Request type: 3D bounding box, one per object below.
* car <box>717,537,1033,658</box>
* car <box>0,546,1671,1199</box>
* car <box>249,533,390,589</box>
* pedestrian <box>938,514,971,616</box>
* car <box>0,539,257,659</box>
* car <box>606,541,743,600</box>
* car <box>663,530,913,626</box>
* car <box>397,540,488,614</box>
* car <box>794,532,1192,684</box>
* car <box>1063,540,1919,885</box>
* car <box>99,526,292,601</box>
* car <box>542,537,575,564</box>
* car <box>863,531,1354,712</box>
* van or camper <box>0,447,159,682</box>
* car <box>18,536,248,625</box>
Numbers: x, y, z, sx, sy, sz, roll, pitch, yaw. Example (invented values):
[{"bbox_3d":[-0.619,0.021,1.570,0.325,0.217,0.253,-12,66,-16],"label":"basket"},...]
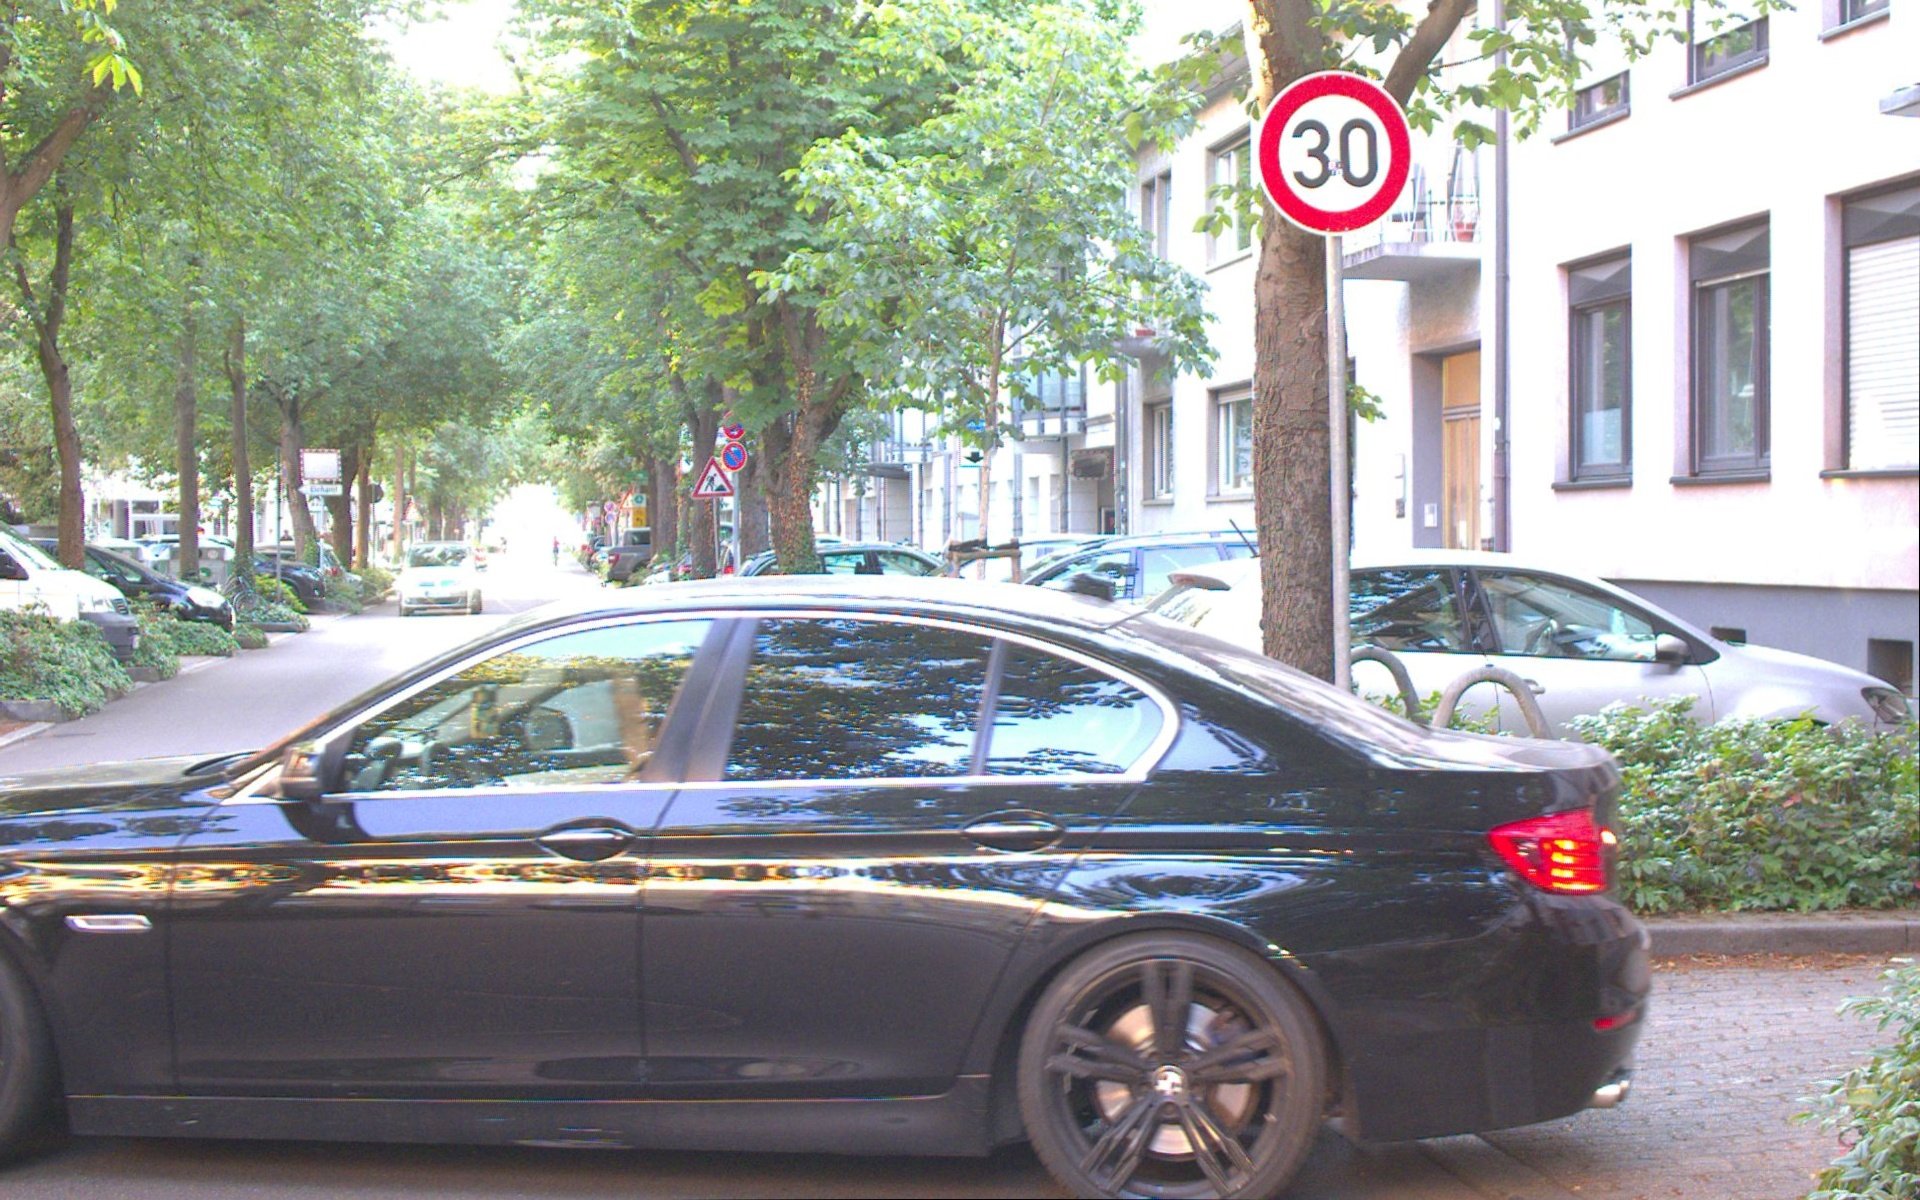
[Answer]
[{"bbox_3d":[-1.143,-0.051,44.963,3.967,1.522,1.785,-1,1,-7],"label":"car"},{"bbox_3d":[-0.733,0.620,8.490,4.746,1.475,1.800,0,1,7],"label":"car"},{"bbox_3d":[-19.030,-1.174,102.344,3.967,1.614,1.785,0,1,-5],"label":"car"},{"bbox_3d":[-0.117,-0.697,67.779,0.589,2.007,0.669,0,1,-5],"label":"pedestrian"},{"bbox_3d":[-11.937,-0.034,48.045,3.967,1.614,1.785,-1,1,-6],"label":"car"},{"bbox_3d":[-8.370,-0.883,100.778,3.967,1.678,1.785,0,1,-5],"label":"car"},{"bbox_3d":[-2.860,-0.381,56.827,3.967,1.522,1.785,-1,1,-8],"label":"car"},{"bbox_3d":[-11.376,-0.524,75.775,1.779,1.557,4.169,0,1,-6],"label":"car"},{"bbox_3d":[0.310,0.060,36.153,3.967,1.522,1.785,-1,1,-7],"label":"car"},{"bbox_3d":[2.555,0.473,16.079,3.908,1.471,1.665,-1,1,-8],"label":"car"},{"bbox_3d":[-16.897,-0.816,76.133,3.967,1.614,1.785,0,1,-5],"label":"car"},{"bbox_3d":[-23.680,-2.944,202.853,1.822,1.525,4.001,-1,1,-6],"label":"car"},{"bbox_3d":[1.240,0.159,29.682,3.967,1.471,1.785,-1,1,-8],"label":"car"},{"bbox_3d":[-11.138,-0.380,37.047,4.662,2.470,2.000,0,1,-7],"label":"van or camper"},{"bbox_3d":[-15.477,-0.376,64.510,3.967,1.614,1.785,0,1,-5],"label":"car"}]
